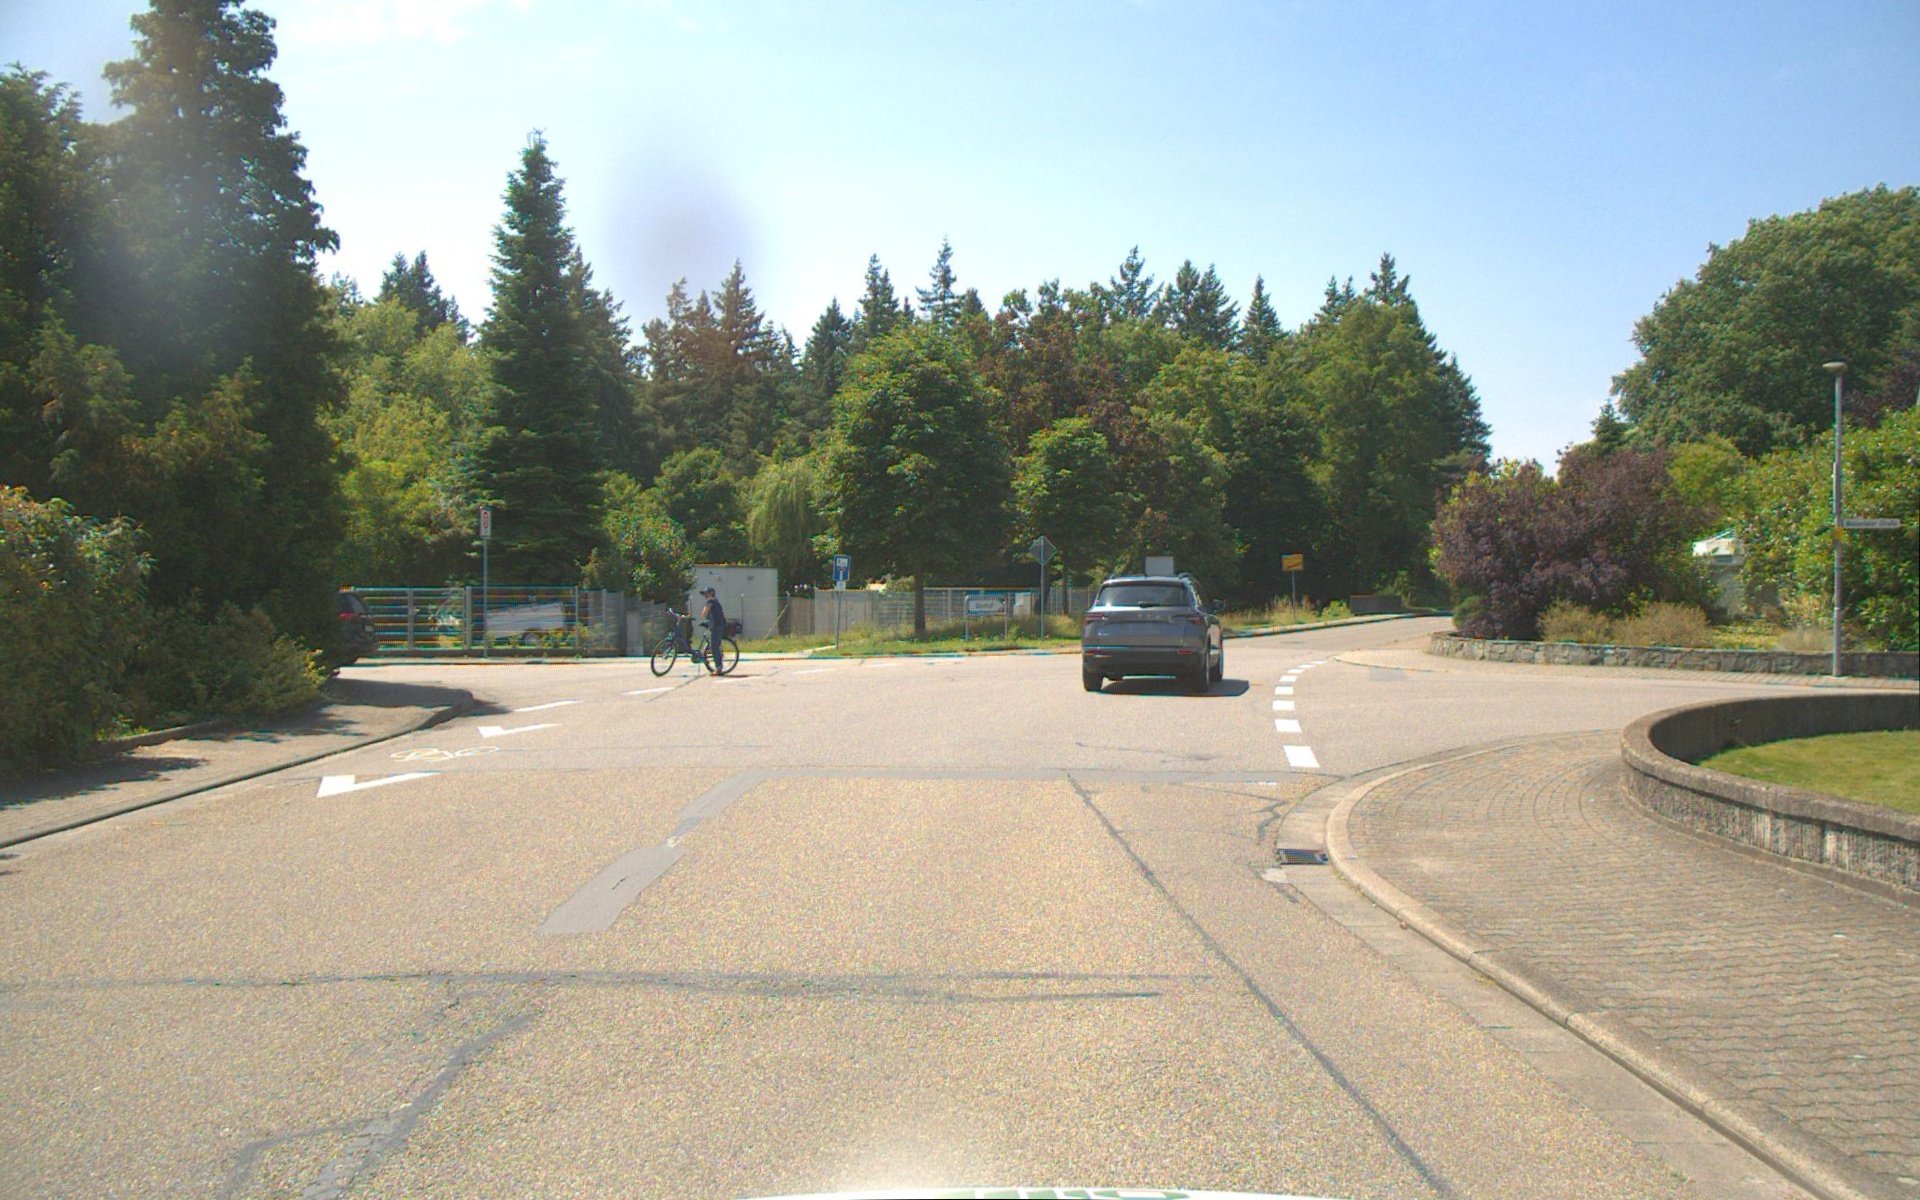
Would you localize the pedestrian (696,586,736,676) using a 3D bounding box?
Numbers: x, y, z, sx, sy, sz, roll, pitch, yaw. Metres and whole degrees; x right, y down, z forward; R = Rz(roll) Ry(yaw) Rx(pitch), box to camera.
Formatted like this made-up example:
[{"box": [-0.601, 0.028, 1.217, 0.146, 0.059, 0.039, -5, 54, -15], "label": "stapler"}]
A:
[{"box": [-4.177, 0.520, 28.280, 0.601, 1.527, 0.501, 0, 0, -20], "label": "pedestrian"}]

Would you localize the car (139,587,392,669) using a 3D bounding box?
[{"box": [-14.819, 0.575, 35.494, 4.572, 1.691, 1.969, 0, 0, -1], "label": "car"}]

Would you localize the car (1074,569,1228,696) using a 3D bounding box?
[{"box": [2.850, 0.421, 23.989, 1.725, 1.646, 4.003, 1, 0, 14], "label": "car"}]

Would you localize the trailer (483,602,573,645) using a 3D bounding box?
[{"box": [-11.265, 0.602, 43.207, 2.174, 1.103, 1.104, 0, 0, -10], "label": "trailer"}]

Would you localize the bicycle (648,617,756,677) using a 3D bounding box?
[{"box": [-4.473, 0.806, 28.687, 1.816, 0.980, 0.440, 0, 0, -21], "label": "bicycle"}]
